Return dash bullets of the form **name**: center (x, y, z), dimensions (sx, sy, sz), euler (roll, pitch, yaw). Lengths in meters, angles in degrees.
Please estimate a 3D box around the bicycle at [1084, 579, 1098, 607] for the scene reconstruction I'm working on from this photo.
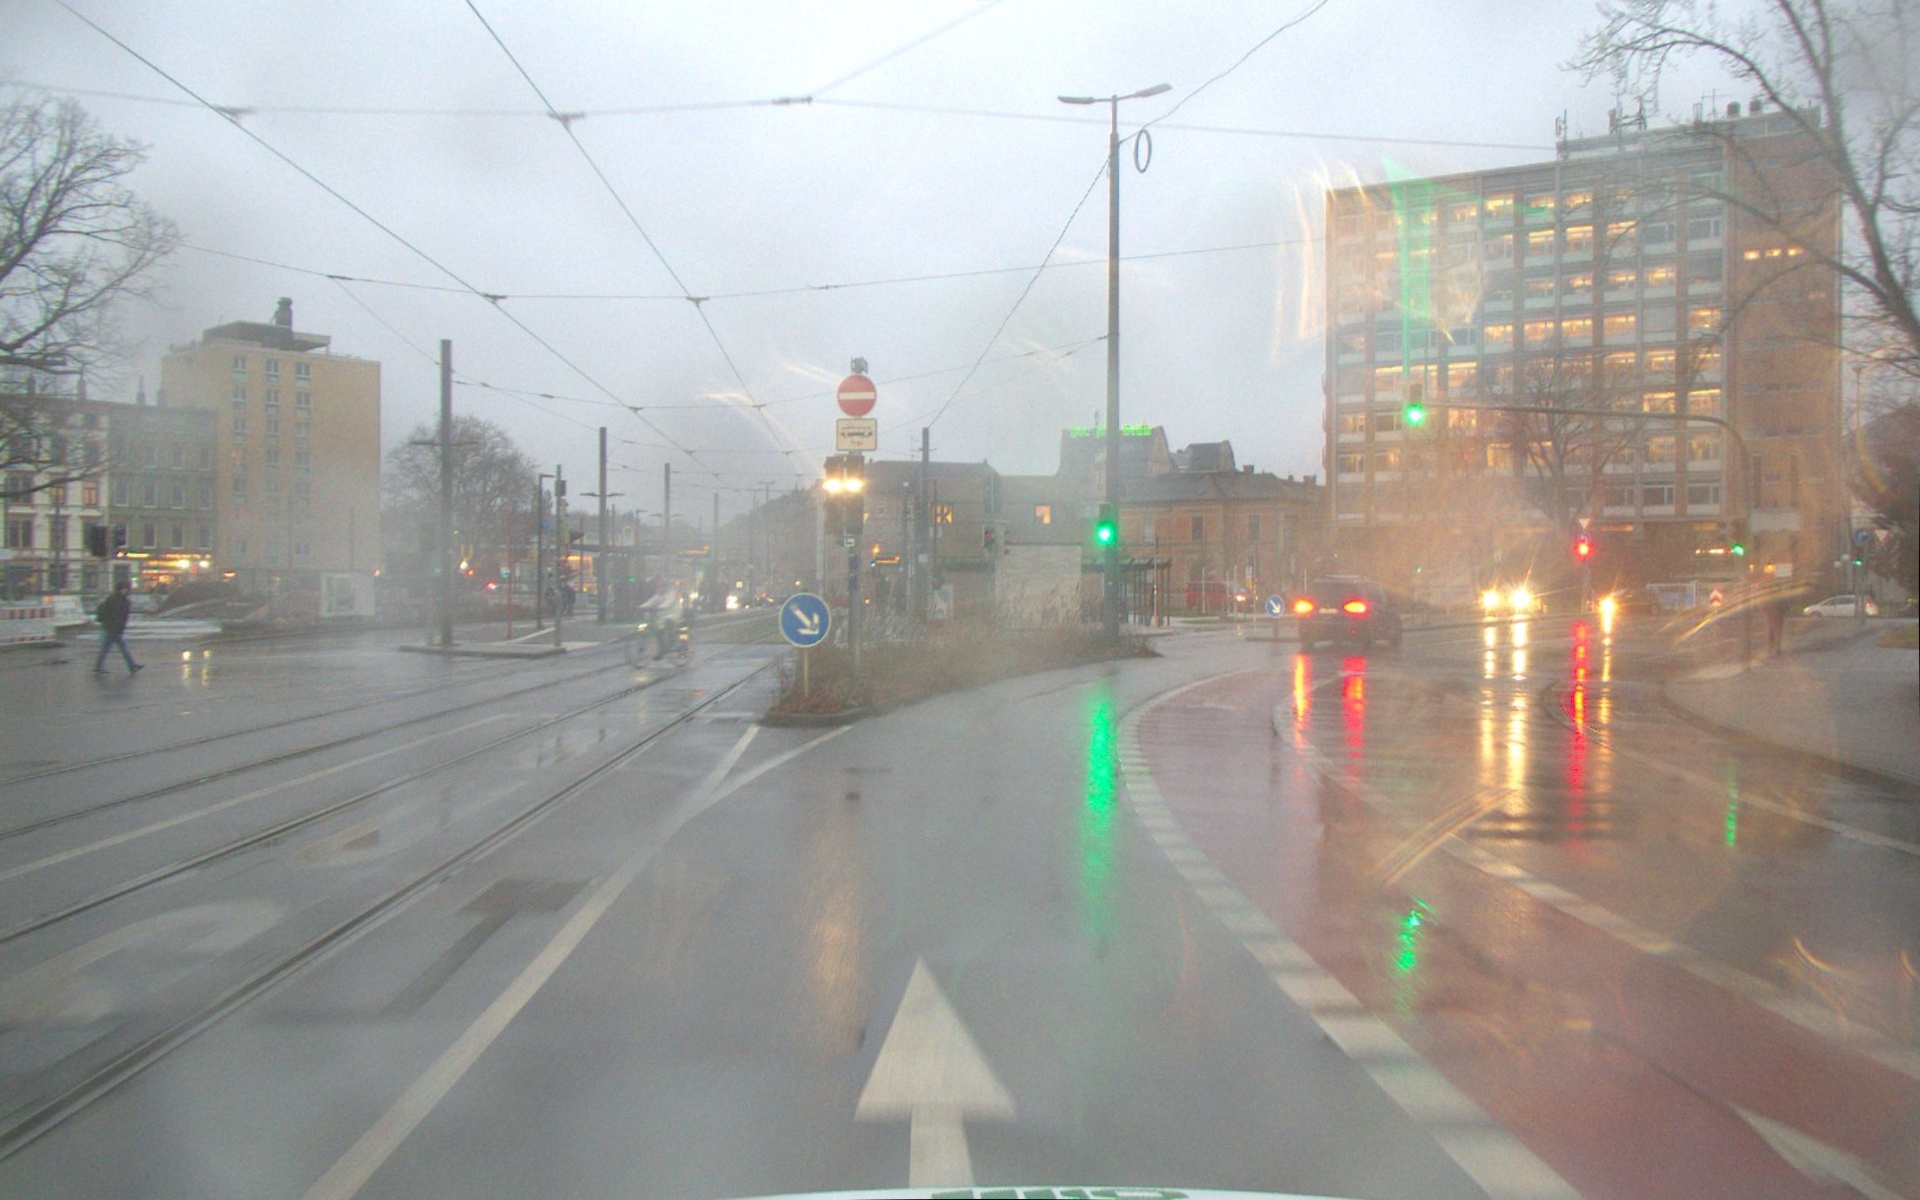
- **bicycle**: center (5.677, -0.305, 71.658), dimensions (0.537, 1.185, 1.899), euler (2, 0, 3)

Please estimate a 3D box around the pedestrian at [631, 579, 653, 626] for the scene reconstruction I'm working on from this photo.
- **pedestrian**: center (-12.062, 0.098, 62.696), dimensions (0.698, 1.788, 0.717), euler (1, 0, -2)

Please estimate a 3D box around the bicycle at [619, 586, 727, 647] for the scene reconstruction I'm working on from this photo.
- **bicycle**: center (-5.570, 0.298, 32.203), dimensions (0.616, 1.093, 2.198), euler (1, 2, 40)

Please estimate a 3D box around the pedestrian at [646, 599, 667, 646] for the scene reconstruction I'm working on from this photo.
- **pedestrian**: center (-11.913, 0.876, 64.886), dimensions (0.698, 1.837, 0.717), euler (1, 0, -2)

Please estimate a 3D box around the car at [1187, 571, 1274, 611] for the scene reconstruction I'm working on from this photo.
- **car**: center (16.469, -0.571, 100.762), dimensions (2.238, 2.321, 4.963), euler (2, 0, -41)

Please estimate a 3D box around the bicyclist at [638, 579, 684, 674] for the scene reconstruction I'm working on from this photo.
- **bicyclist**: center (-5.776, 0.502, 31.944), dimensions (0.601, 1.798, 0.586), euler (1, 0, 41)

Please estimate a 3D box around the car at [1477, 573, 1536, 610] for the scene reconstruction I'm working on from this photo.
- **car**: center (26.276, -0.429, 79.442), dimensions (1.722, 1.691, 4.520), euler (-2, 0, 31)

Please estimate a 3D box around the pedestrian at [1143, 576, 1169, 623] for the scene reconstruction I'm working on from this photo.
- **pedestrian**: center (7.135, -0.017, 60.160), dimensions (0.662, 1.703, 0.727), euler (1, 0, 36)

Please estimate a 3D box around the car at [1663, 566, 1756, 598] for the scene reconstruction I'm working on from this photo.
- **car**: center (50.935, -1.233, 112.471), dimensions (5.459, 2.059, 1.991), euler (2, 0, 39)

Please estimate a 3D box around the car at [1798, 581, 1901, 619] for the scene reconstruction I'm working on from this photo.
- **car**: center (51.007, -0.010, 94.914), dimensions (4.865, 2.049, 1.986), euler (2, 0, 45)

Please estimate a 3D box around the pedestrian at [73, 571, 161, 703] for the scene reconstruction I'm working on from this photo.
- **pedestrian**: center (-15.808, 0.679, 31.034), dimensions (0.974, 2.412, 1.063), euler (1, 0, 28)

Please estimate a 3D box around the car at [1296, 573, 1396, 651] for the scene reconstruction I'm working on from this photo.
- **car**: center (10.049, 0.261, 42.919), dimensions (1.615, 1.850, 3.996), euler (1, 2, 27)

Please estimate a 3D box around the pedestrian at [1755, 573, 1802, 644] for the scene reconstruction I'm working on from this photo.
- **pedestrian**: center (20.117, 0.200, 40.683), dimensions (0.788, 1.714, 1.157), euler (-2, 0, 16)
